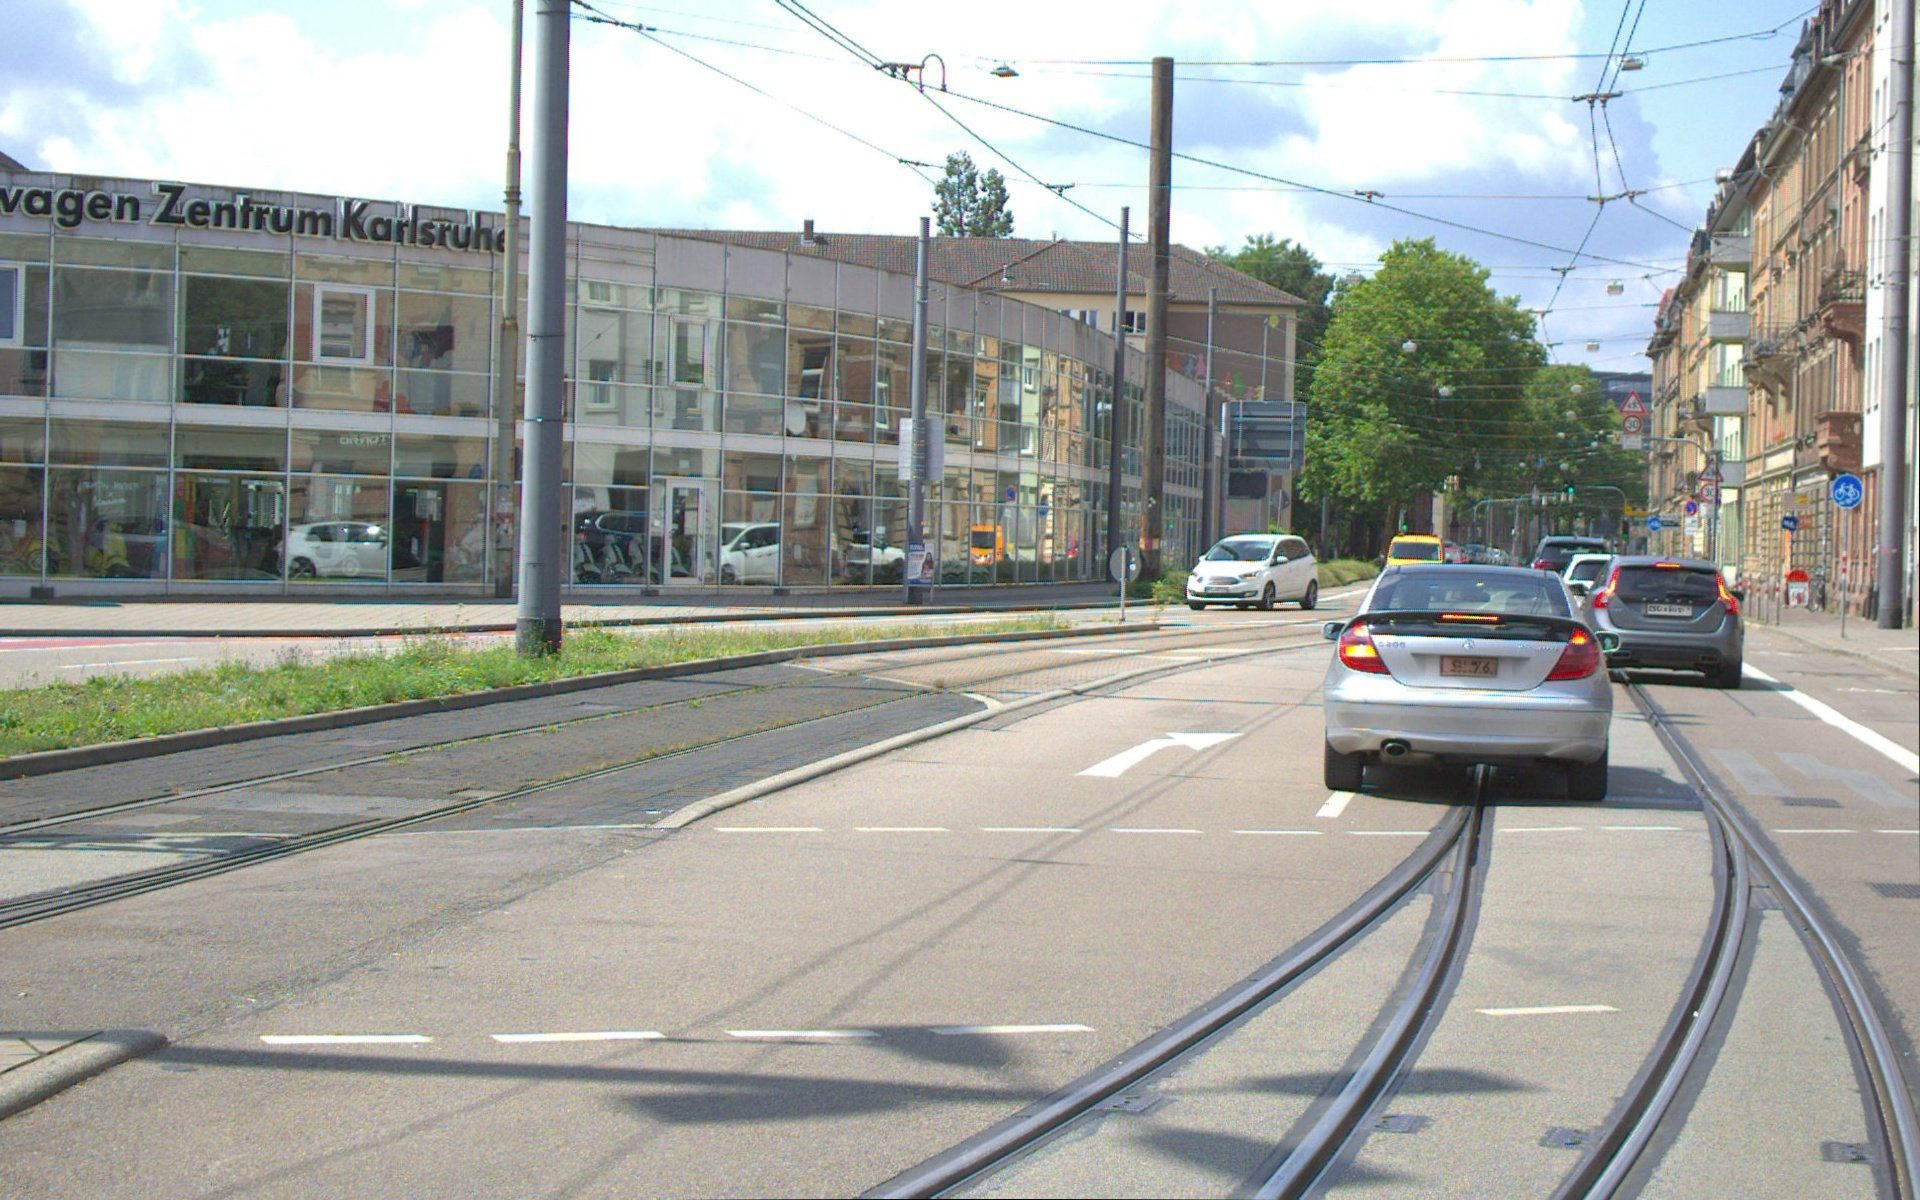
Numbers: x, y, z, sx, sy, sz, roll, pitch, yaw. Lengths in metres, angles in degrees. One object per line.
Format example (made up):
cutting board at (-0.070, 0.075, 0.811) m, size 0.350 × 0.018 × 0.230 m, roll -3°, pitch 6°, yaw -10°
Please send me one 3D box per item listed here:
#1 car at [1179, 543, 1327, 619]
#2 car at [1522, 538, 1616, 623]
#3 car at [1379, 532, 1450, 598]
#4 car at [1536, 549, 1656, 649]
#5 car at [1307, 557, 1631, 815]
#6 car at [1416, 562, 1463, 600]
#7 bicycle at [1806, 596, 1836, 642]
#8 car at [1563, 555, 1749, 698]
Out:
car at (6.416, -0.425, 74.834) m, size 1.769 × 1.598 × 4.487 m, roll 1°, pitch 0°, yaw 25°
car at (12.552, -0.397, 70.976) m, size 1.815 × 1.656 × 4.083 m, roll 2°, pitch 0°, yaw 9°
car at (13.287, -1.022, 100.334) m, size 1.912 × 1.859 × 4.365 m, roll 0°, pitch 0°, yaw 10°
car at (10.341, -0.039, 56.124) m, size 1.815 × 1.519 × 3.954 m, roll 2°, pitch 1°, yaw 9°
car at (3.212, 0.469, 21.956) m, size 1.815 × 1.415 × 4.186 m, roll 2°, pitch 1°, yaw 8°
car at (18.858, -0.751, 135.189) m, size 1.702 × 1.423 × 3.900 m, roll 2°, pitch 0°, yaw 9°
bicycle at (22.520, 0.489, 89.963) m, size 0.586 × 1.174 × 2.204 m, roll 1°, pitch 1°, yaw 10°
car at (8.086, 0.263, 40.231) m, size 1.815 × 1.519 × 4.084 m, roll 2°, pitch 1°, yaw 8°
